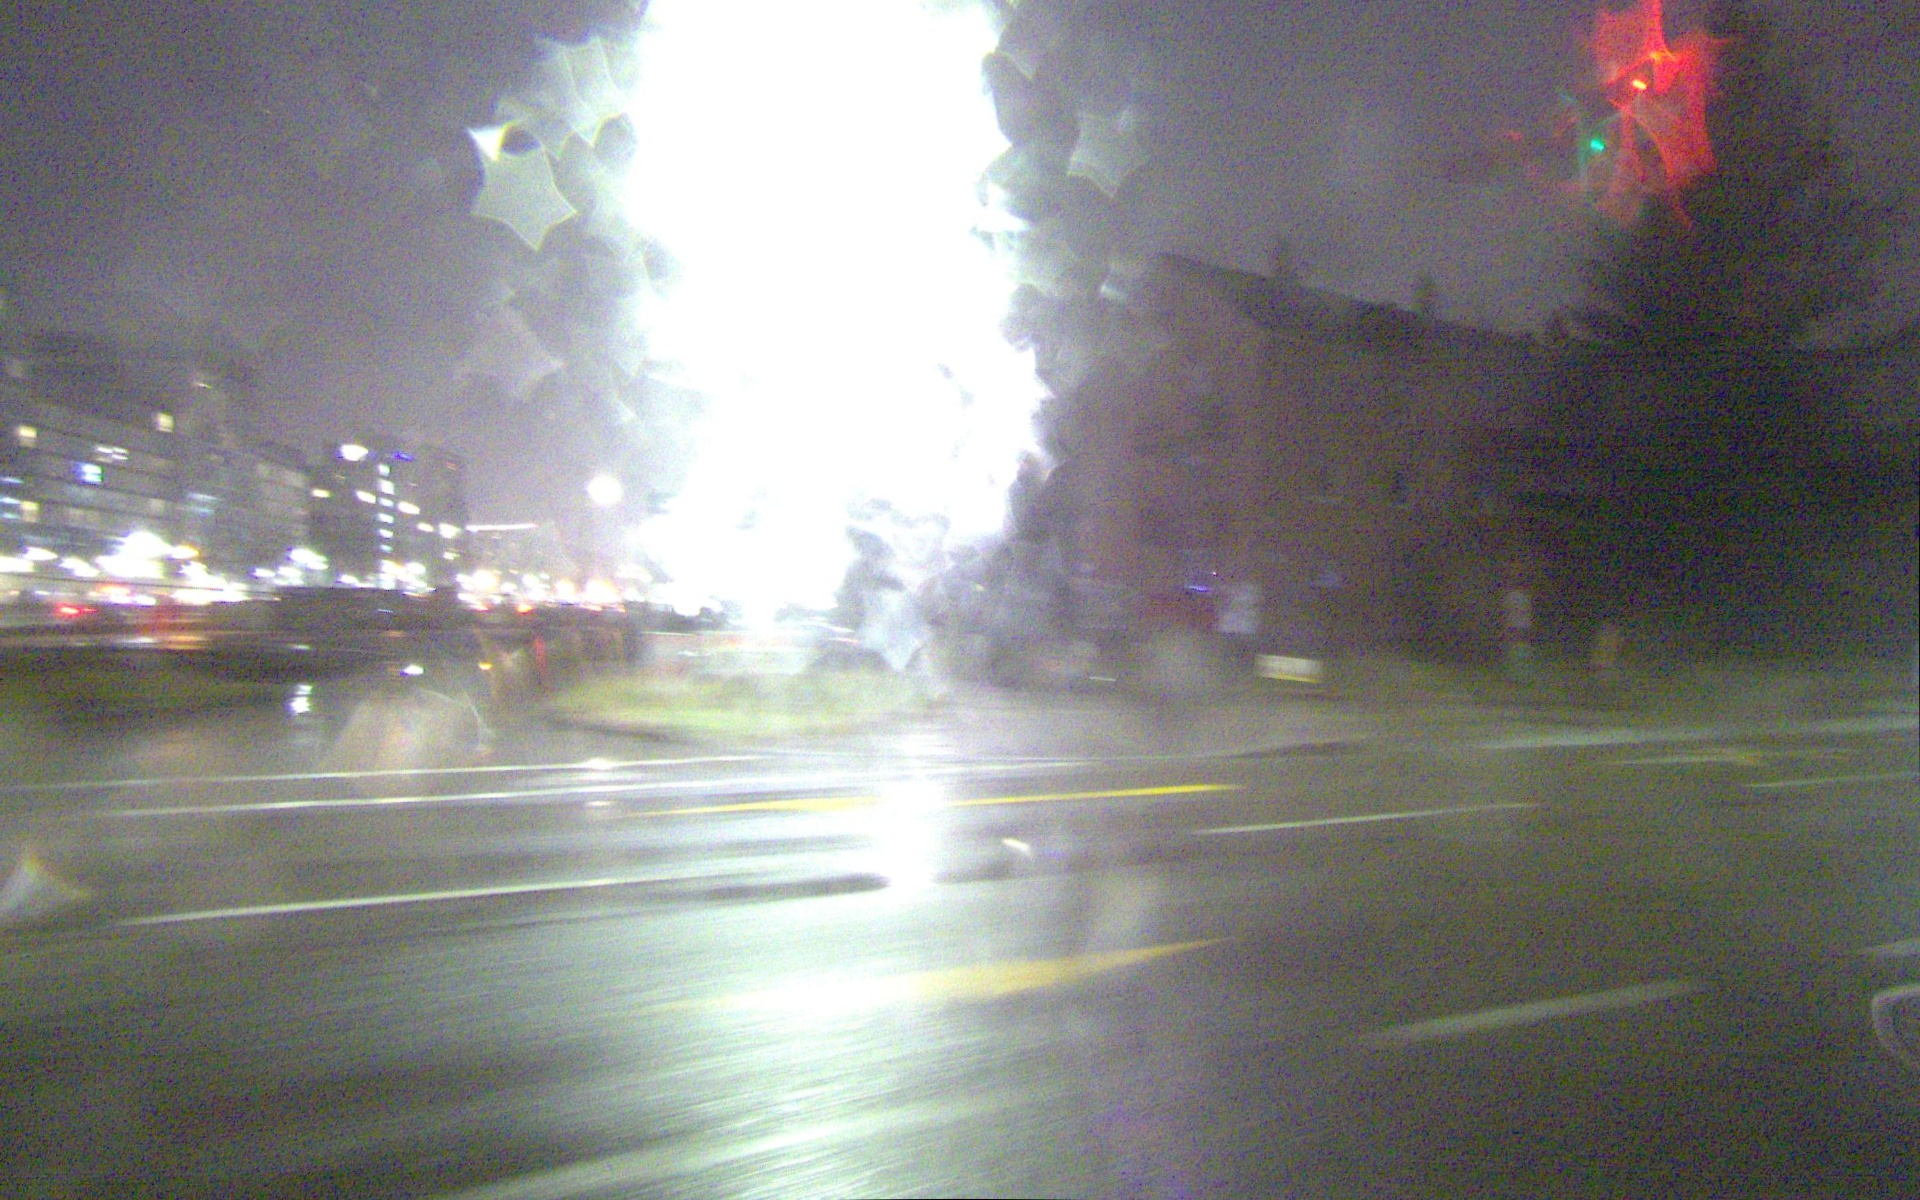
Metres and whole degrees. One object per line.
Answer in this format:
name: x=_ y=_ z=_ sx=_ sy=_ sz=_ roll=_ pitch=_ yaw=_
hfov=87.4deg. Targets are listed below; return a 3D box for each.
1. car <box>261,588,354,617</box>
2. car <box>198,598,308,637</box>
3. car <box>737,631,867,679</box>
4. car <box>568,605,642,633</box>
car: x=-40.215 y=0.154 z=61.975 sx=4.316 sy=1.643 sz=1.997 roll=1 pitch=0 yaw=-9
car: x=-39.197 y=1.008 z=55.794 sx=4.237 sy=1.758 sz=2.330 roll=4 pitch=-4 yaw=-11
car: x=-4.779 y=1.662 z=30.758 sx=3.747 sy=1.353 sz=1.536 roll=1 pitch=-1 yaw=-3
car: x=-23.513 y=1.251 z=66.664 sx=4.355 sy=1.643 sz=1.996 roll=3 pitch=-1 yaw=-12
